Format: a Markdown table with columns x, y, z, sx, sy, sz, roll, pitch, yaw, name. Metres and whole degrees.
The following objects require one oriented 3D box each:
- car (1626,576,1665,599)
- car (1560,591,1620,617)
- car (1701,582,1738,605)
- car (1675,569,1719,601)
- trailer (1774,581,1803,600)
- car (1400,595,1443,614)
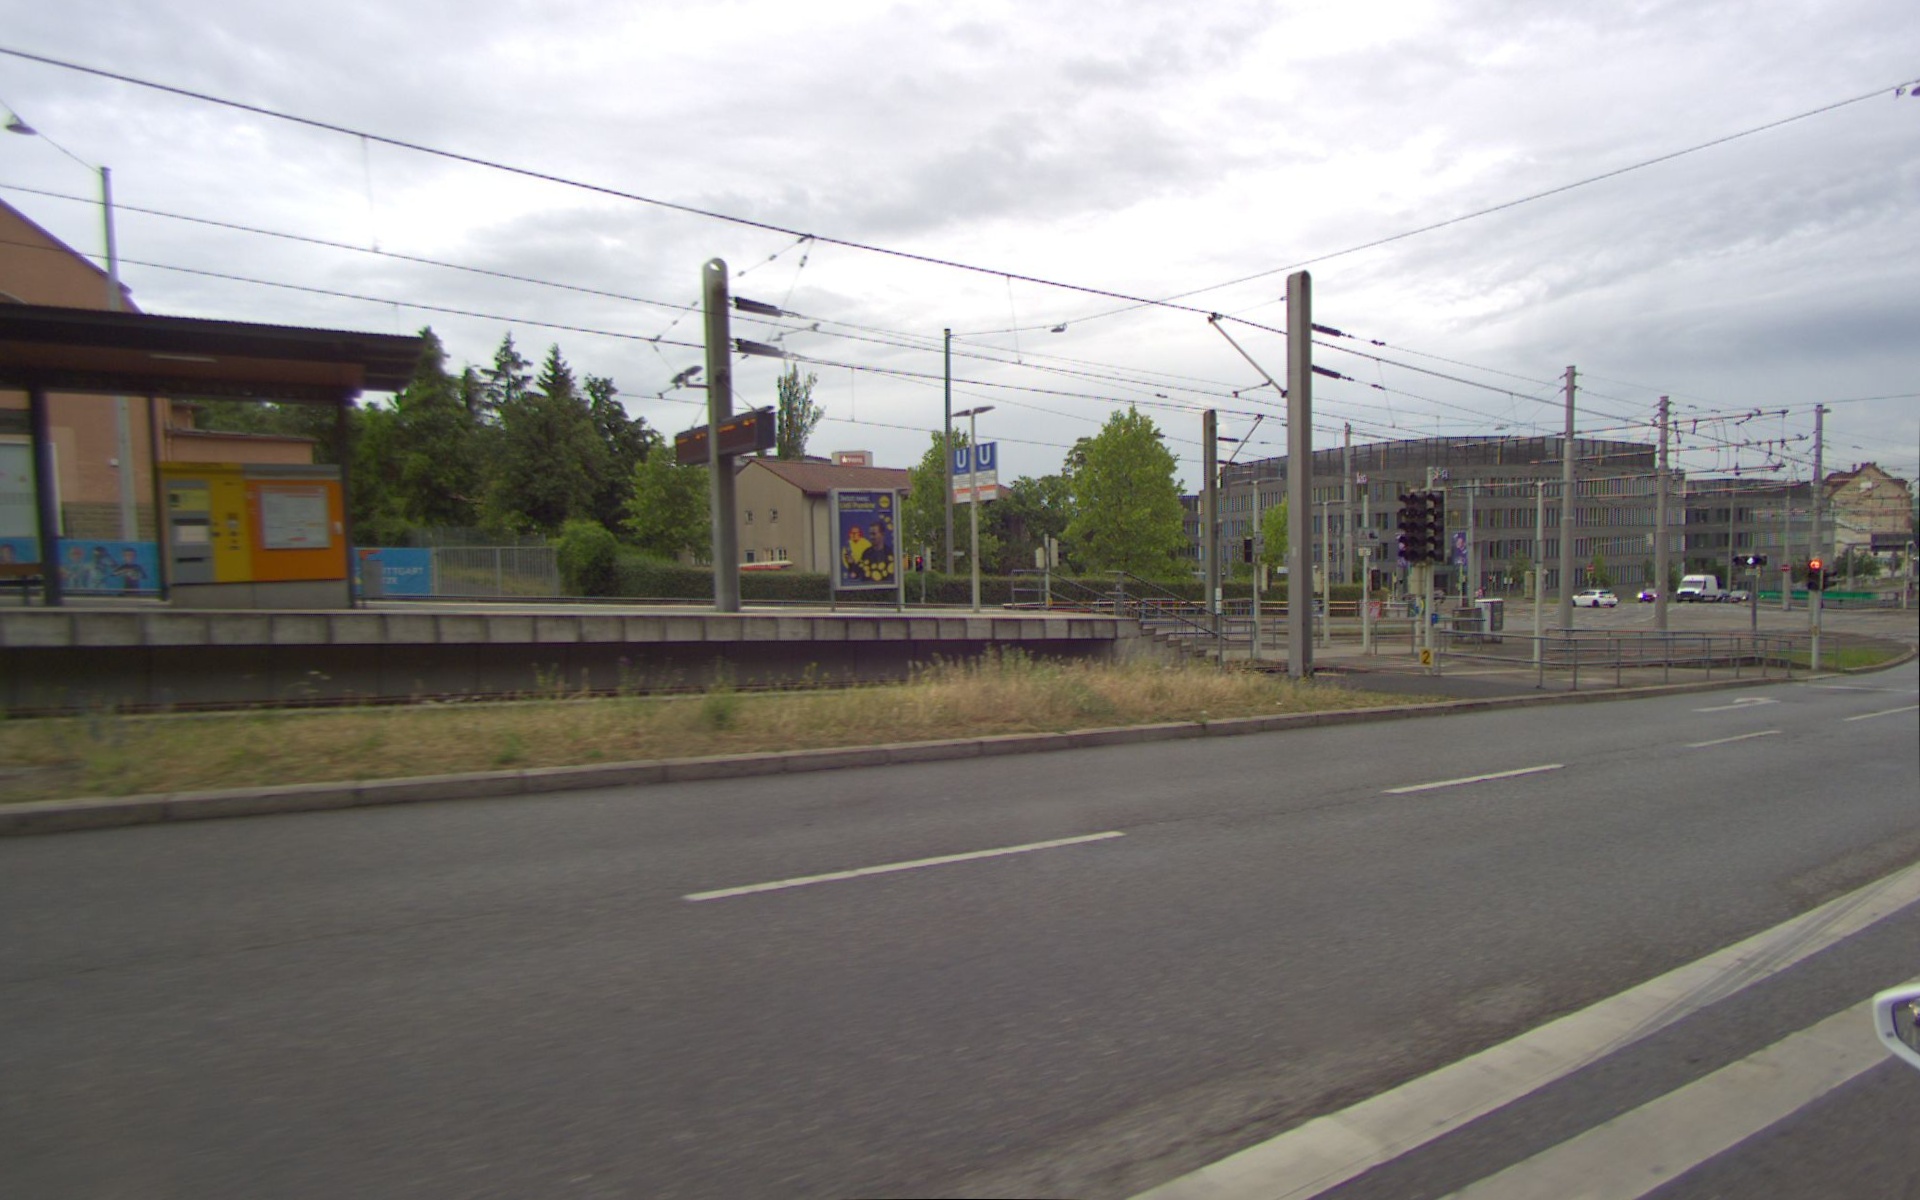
| x | y | z | sx | sy | sz | roll | pitch | yaw | name |
| --- | --- | --- | --- | --- | --- | --- | --- | --- | --- |
| 66.521 | -1.163 | 97.509 | 4.211 | 2.182 | 1.978 | 0 | 0 | -39 | car |
| 53.512 | 0.301 | 85.390 | 1.966 | 2.040 | 3.988 | 2 | 0 | -14 | car |
| 76.659 | -0.649 | 101.402 | 4.211 | 2.181 | 1.978 | 3 | -1 | -39 | car |
| 69.217 | -1.388 | 94.297 | 5.667 | 2.869 | 1.978 | -1 | 0 | -39 | car |
| 98.870 | -1.099 | 119.834 | 4.240 | 2.102 | 1.810 | 2 | 0 | -40 | trailer |
| 47.513 | 0.460 | 103.554 | 1.966 | 1.840 | 3.988 | 2 | 0 | -14 | car |
